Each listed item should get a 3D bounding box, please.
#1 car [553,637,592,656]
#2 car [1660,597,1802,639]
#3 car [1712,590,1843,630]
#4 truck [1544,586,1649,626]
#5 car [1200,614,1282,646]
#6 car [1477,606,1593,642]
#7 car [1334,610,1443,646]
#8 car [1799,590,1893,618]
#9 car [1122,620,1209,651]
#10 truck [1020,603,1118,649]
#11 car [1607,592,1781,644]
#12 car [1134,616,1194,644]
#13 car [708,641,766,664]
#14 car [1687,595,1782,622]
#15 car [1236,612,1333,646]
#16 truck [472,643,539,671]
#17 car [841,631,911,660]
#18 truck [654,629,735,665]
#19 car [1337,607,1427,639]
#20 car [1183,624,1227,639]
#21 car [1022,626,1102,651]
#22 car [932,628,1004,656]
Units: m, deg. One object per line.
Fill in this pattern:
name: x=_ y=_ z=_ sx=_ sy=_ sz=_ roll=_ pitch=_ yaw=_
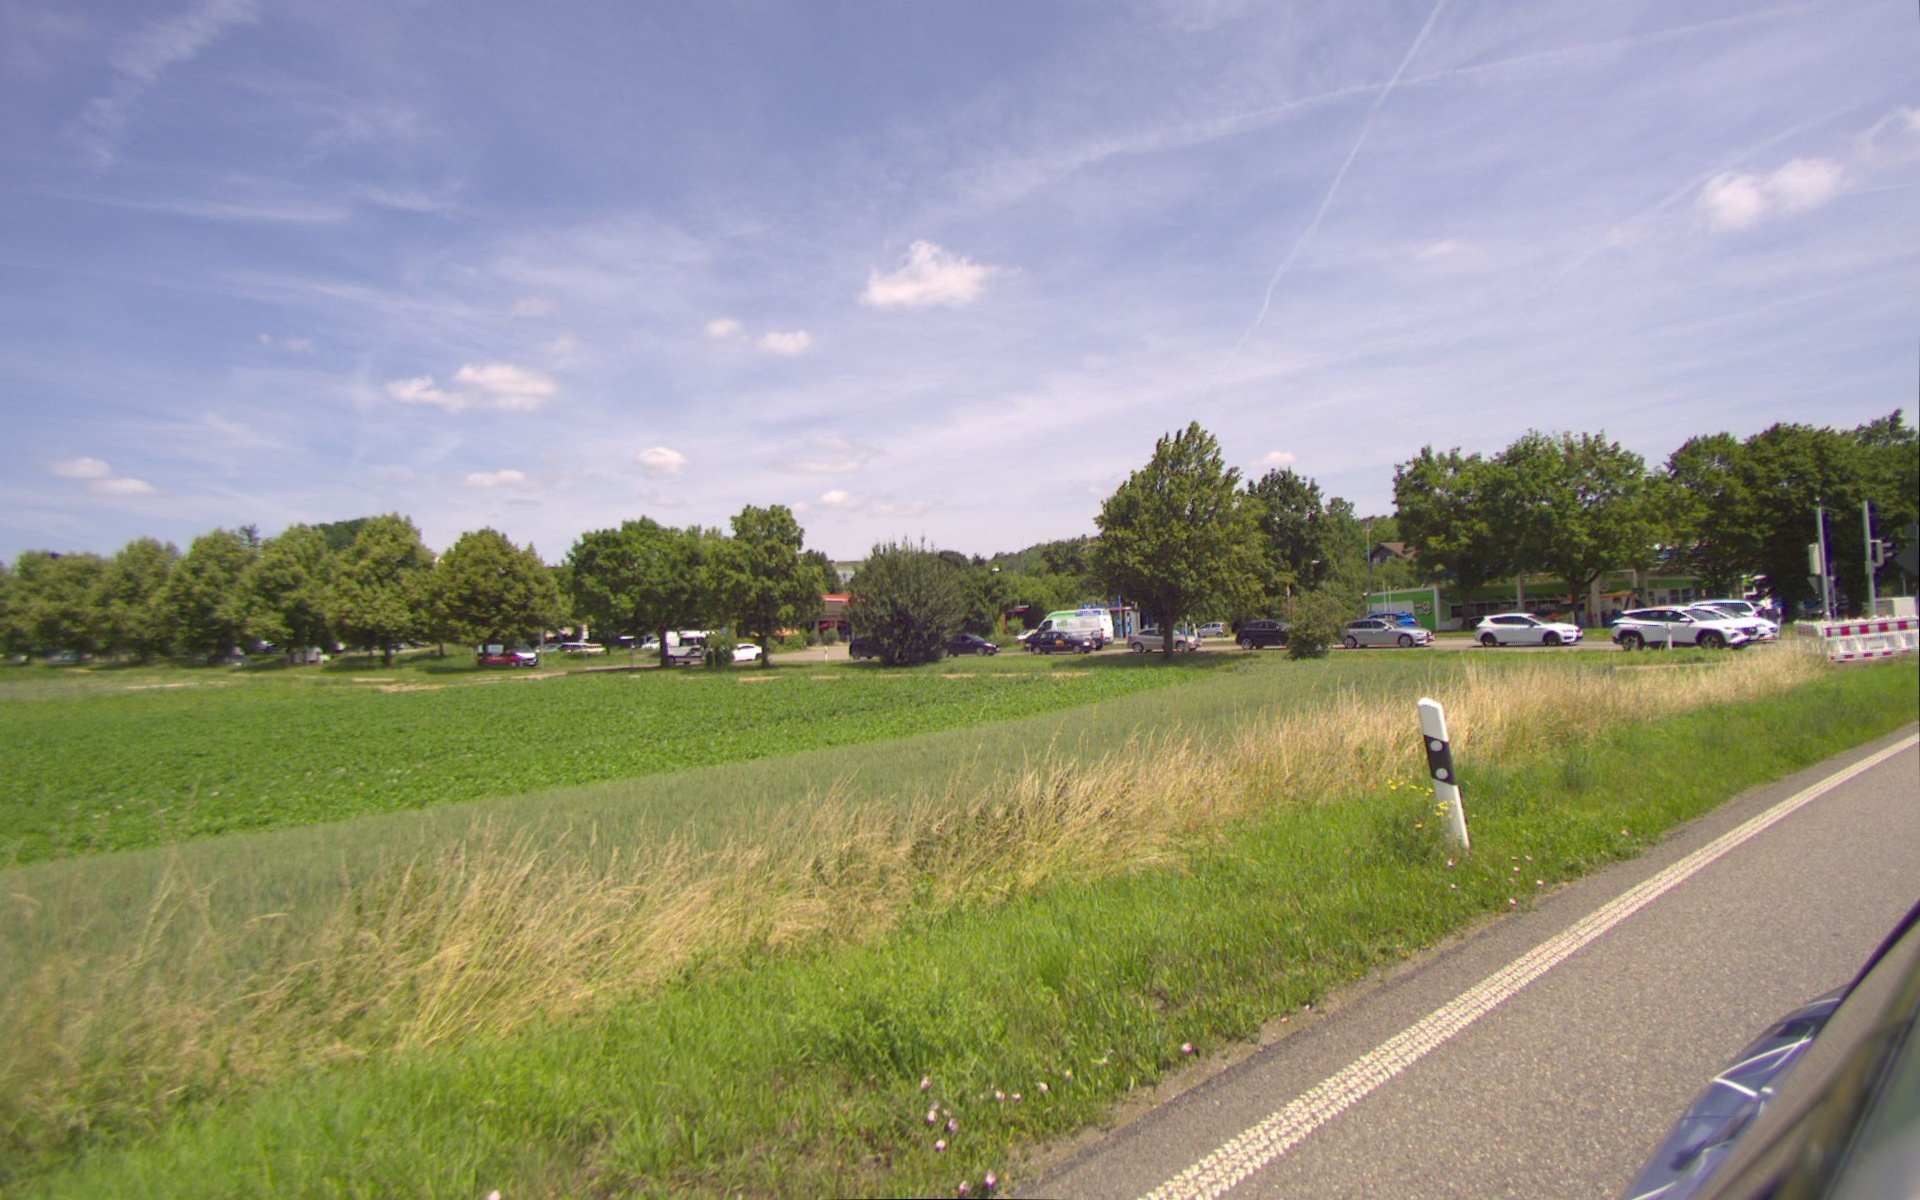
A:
car: x=-42.005 y=5.082 z=109.760 sx=3.966 sy=1.848 sz=1.803 roll=-3 pitch=-1 yaw=31
car: x=29.923 y=0.721 z=39.400 sx=1.791 sy=1.437 sz=3.978 roll=-3 pitch=-1 yaw=-26
car: x=39.301 y=0.468 z=48.782 sx=4.469 sy=1.713 sz=1.855 roll=-3 pitch=0 yaw=20
truck: x=46.079 y=0.459 z=73.312 sx=6.032 sy=2.652 sz=2.262 roll=-2 pitch=-2 yaw=-1
car: x=17.190 y=1.849 z=61.926 sx=4.484 sy=1.713 sz=1.848 roll=-3 pitch=0 yaw=29
car: x=25.418 y=1.083 z=44.837 sx=1.769 sy=1.437 sz=4.099 roll=-3 pitch=0 yaw=-40
car: x=21.139 y=1.381 z=50.068 sx=1.772 sy=1.529 sz=4.547 roll=-2 pitch=-2 yaw=-45
car: x=60.607 y=0.256 z=69.313 sx=4.543 sy=1.642 sz=2.000 roll=-3 pitch=0 yaw=1
car: x=11.718 y=2.024 z=57.844 sx=4.529 sy=1.529 sz=1.779 roll=-4 pitch=-1 yaw=34
truck: x=7.014 y=1.692 z=65.273 sx=5.889 sy=2.771 sz=2.053 roll=-2 pitch=0 yaw=29
car: x=26.488 y=0.688 z=36.718 sx=1.958 sy=1.627 sz=4.646 roll=-4 pitch=-1 yaw=-27
car: x=15.268 y=2.239 z=75.933 sx=3.969 sy=1.848 sz=1.802 roll=-3 pitch=-1 yaw=33
car: x=-18.895 y=4.443 z=85.783 sx=4.422 sy=1.579 sz=1.874 roll=-3 pitch=-1 yaw=-40
car: x=53.085 y=0.568 z=69.406 sx=4.847 sy=1.623 sz=2.039 roll=-3 pitch=0 yaw=1
car: x=17.312 y=1.557 z=54.158 sx=4.546 sy=1.529 sz=1.773 roll=-4 pitch=-1 yaw=45
truck: x=-37.081 y=4.680 z=82.569 sx=5.413 sy=2.001 sz=1.787 roll=-3 pitch=-1 yaw=23
car: x=-5.677 y=3.047 z=68.201 sx=4.251 sy=1.719 sz=1.980 roll=-3 pitch=-1 yaw=29
truck: x=-19.529 y=3.457 z=74.444 sx=5.572 sy=2.396 sz=2.038 roll=-3 pitch=-1 yaw=23
car: x=23.158 y=1.259 z=55.602 sx=4.351 sy=1.579 sz=1.765 roll=-3 pitch=-2 yaw=31
car: x=24.361 y=3.130 z=100.698 sx=3.812 sy=1.398 sz=1.707 roll=-3 pitch=-2 yaw=33
car: x=6.222 y=2.370 z=61.756 sx=4.519 sy=1.289 sz=1.783 roll=-4 pitch=-1 yaw=29
car: x=0.503 y=2.703 z=64.918 sx=4.188 sy=1.529 sz=1.785 roll=-3 pitch=-1 yaw=26
